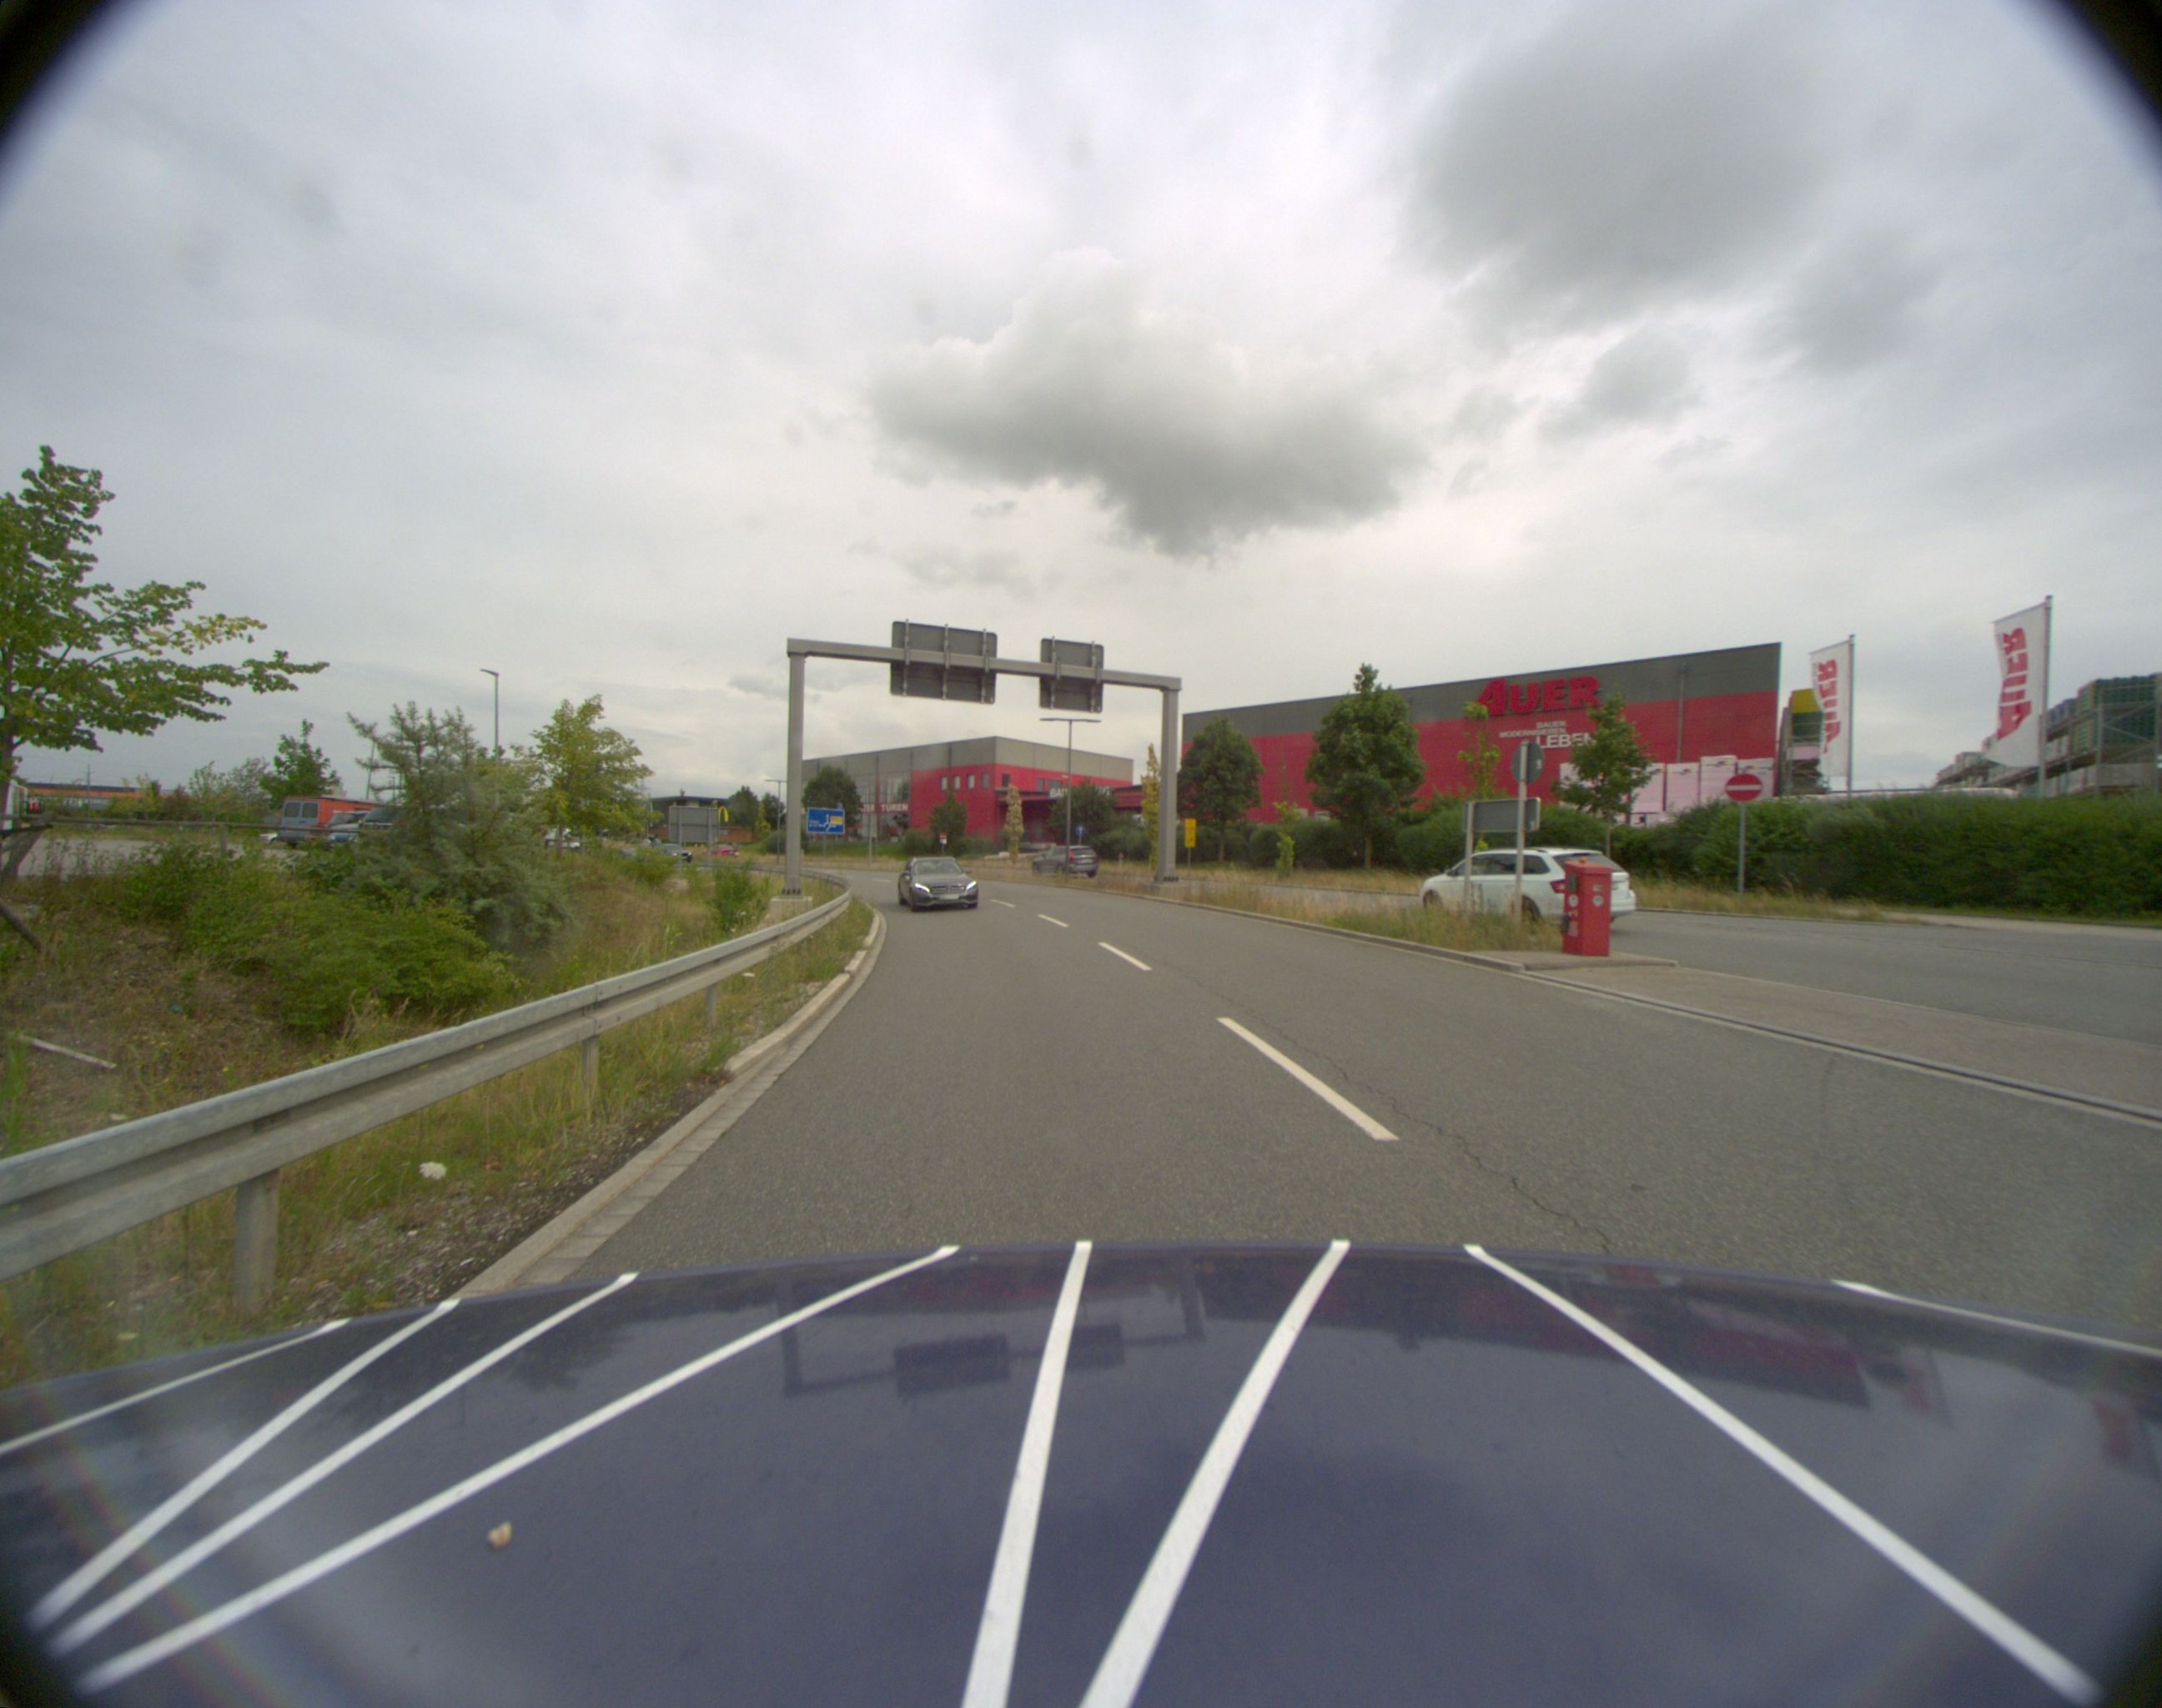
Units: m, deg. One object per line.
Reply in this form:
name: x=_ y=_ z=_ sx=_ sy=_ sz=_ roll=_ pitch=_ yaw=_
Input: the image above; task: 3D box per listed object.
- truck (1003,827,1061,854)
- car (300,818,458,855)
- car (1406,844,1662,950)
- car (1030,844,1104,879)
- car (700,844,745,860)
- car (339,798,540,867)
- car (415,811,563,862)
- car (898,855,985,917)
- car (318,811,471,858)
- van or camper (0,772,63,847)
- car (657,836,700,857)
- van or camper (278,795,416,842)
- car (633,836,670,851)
truck: x=-4.791 y=-1.322 z=73.410 sx=5.889 sy=2.474 sz=2.044 roll=2 pitch=3 yaw=41
car: x=-29.113 y=-0.720 z=31.734 sx=1.700 sy=1.392 sz=4.594 roll=2 pitch=1 yaw=16
car: x=8.311 y=0.698 z=14.474 sx=1.721 sy=1.625 sz=4.262 roll=-3 pitch=1 yaw=-12
car: x=-0.794 y=0.353 z=39.154 sx=1.817 sy=1.620 sz=4.676 roll=-3 pitch=1 yaw=-29
car: x=-36.005 y=-0.210 z=76.263 sx=4.957 sy=1.439 sz=1.800 roll=0 pitch=3 yaw=35
car: x=-18.363 y=-0.638 z=22.057 sx=1.802 sy=1.773 sz=4.171 roll=-1 pitch=2 yaw=11
car: x=-20.668 y=-0.663 z=26.715 sx=1.515 sy=1.644 sz=3.739 roll=-1 pitch=3 yaw=24
car: x=-4.170 y=0.840 z=22.209 sx=1.909 sy=1.489 sz=4.331 roll=-2 pitch=1 yaw=-18
car: x=-24.896 y=-0.643 z=27.728 sx=1.689 sy=1.509 sz=3.800 roll=0 pitch=-1 yaw=16
van or camper: x=-48.218 y=-1.930 z=31.071 sx=2.485 sy=3.160 sz=7.756 roll=1 pitch=0 yaw=40
car: x=-35.818 y=-0.670 z=67.556 sx=3.988 sy=1.710 sz=1.847 roll=1 pitch=4 yaw=38
van or camper: x=-33.792 y=-1.576 z=35.202 sx=1.812 sy=1.986 sz=4.675 roll=0 pitch=1 yaw=-1
car: x=-49.911 y=-1.220 z=88.264 sx=4.624 sy=1.617 sz=1.918 roll=0 pitch=4 yaw=36
